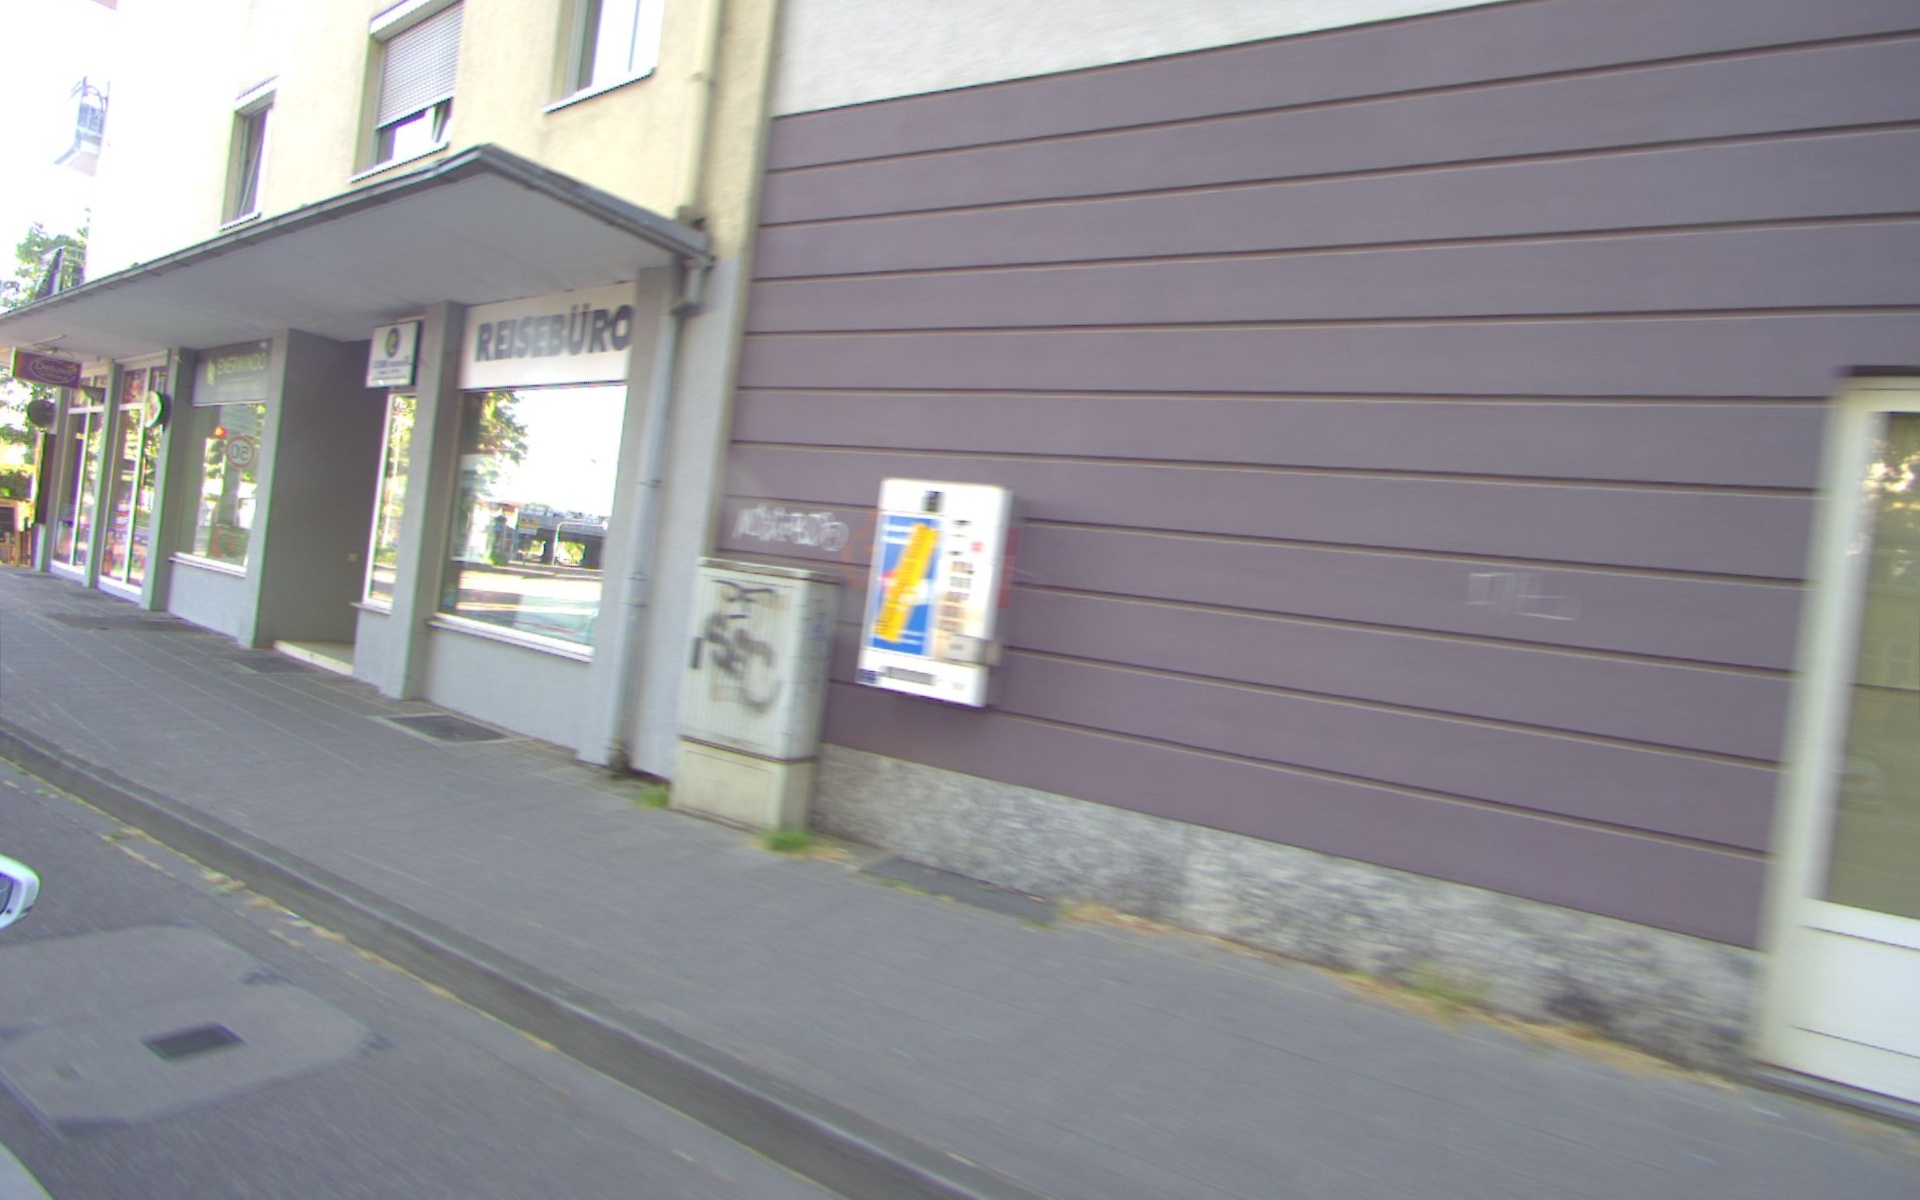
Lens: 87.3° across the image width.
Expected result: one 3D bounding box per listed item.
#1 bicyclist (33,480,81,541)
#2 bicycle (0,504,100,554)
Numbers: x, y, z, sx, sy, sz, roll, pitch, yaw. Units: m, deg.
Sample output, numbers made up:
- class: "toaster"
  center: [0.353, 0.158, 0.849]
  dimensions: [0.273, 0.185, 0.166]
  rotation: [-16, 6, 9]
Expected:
- class: "bicyclist"
  center: [-25.674, -2.540, 28.599]
  dimensions: [0.859, 1.615, 0.641]
  rotation: [7, 0, -45]
- class: "bicycle"
  center: [-25.817, -2.006, 28.530]
  dimensions: [2.050, 1.107, 0.585]
  rotation: [8, 0, -45]
